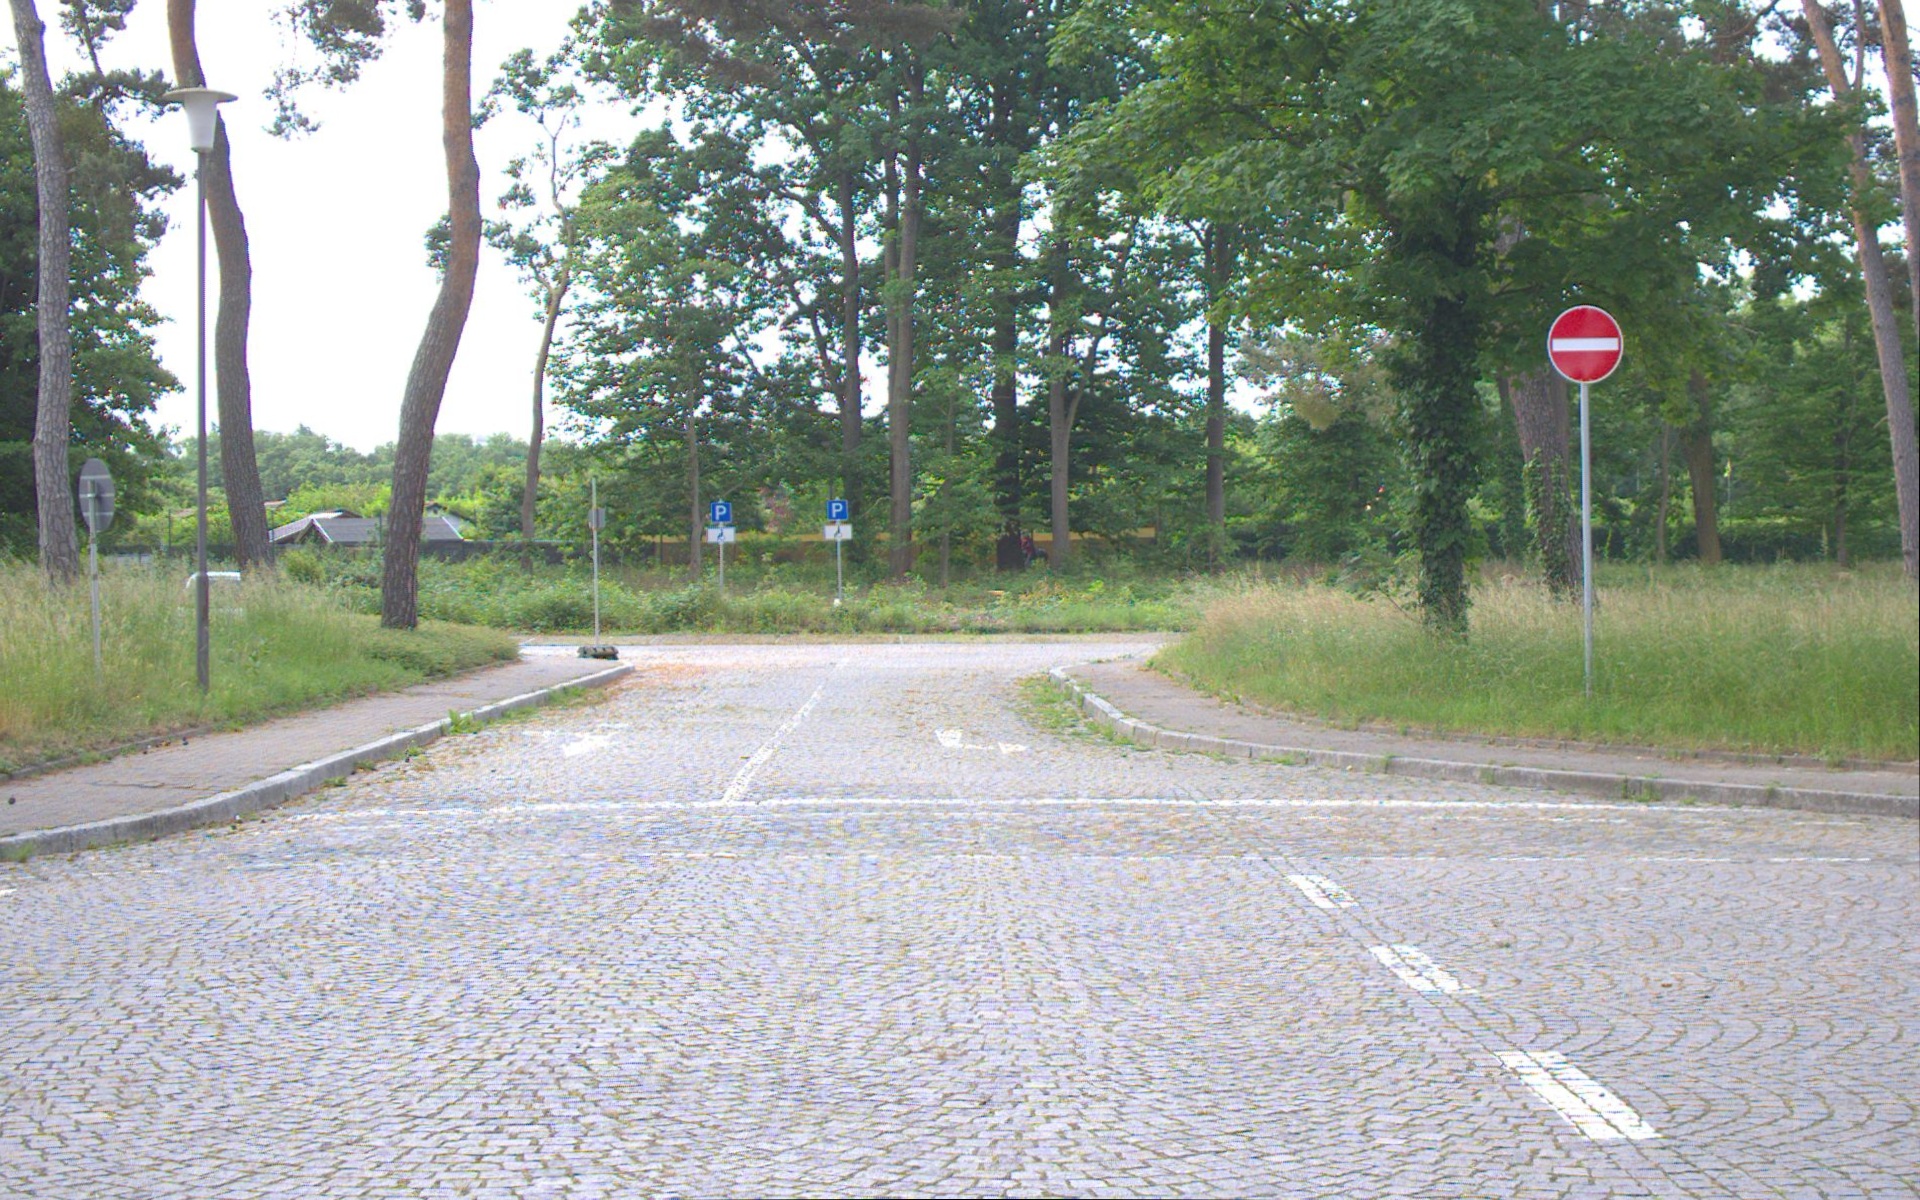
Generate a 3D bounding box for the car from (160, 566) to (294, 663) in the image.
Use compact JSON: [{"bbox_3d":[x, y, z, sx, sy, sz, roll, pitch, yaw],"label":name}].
[{"bbox_3d":[-14.681,0.264,69.047,1.993,1.840,4.001,1,0,-3],"label":"car"}]
